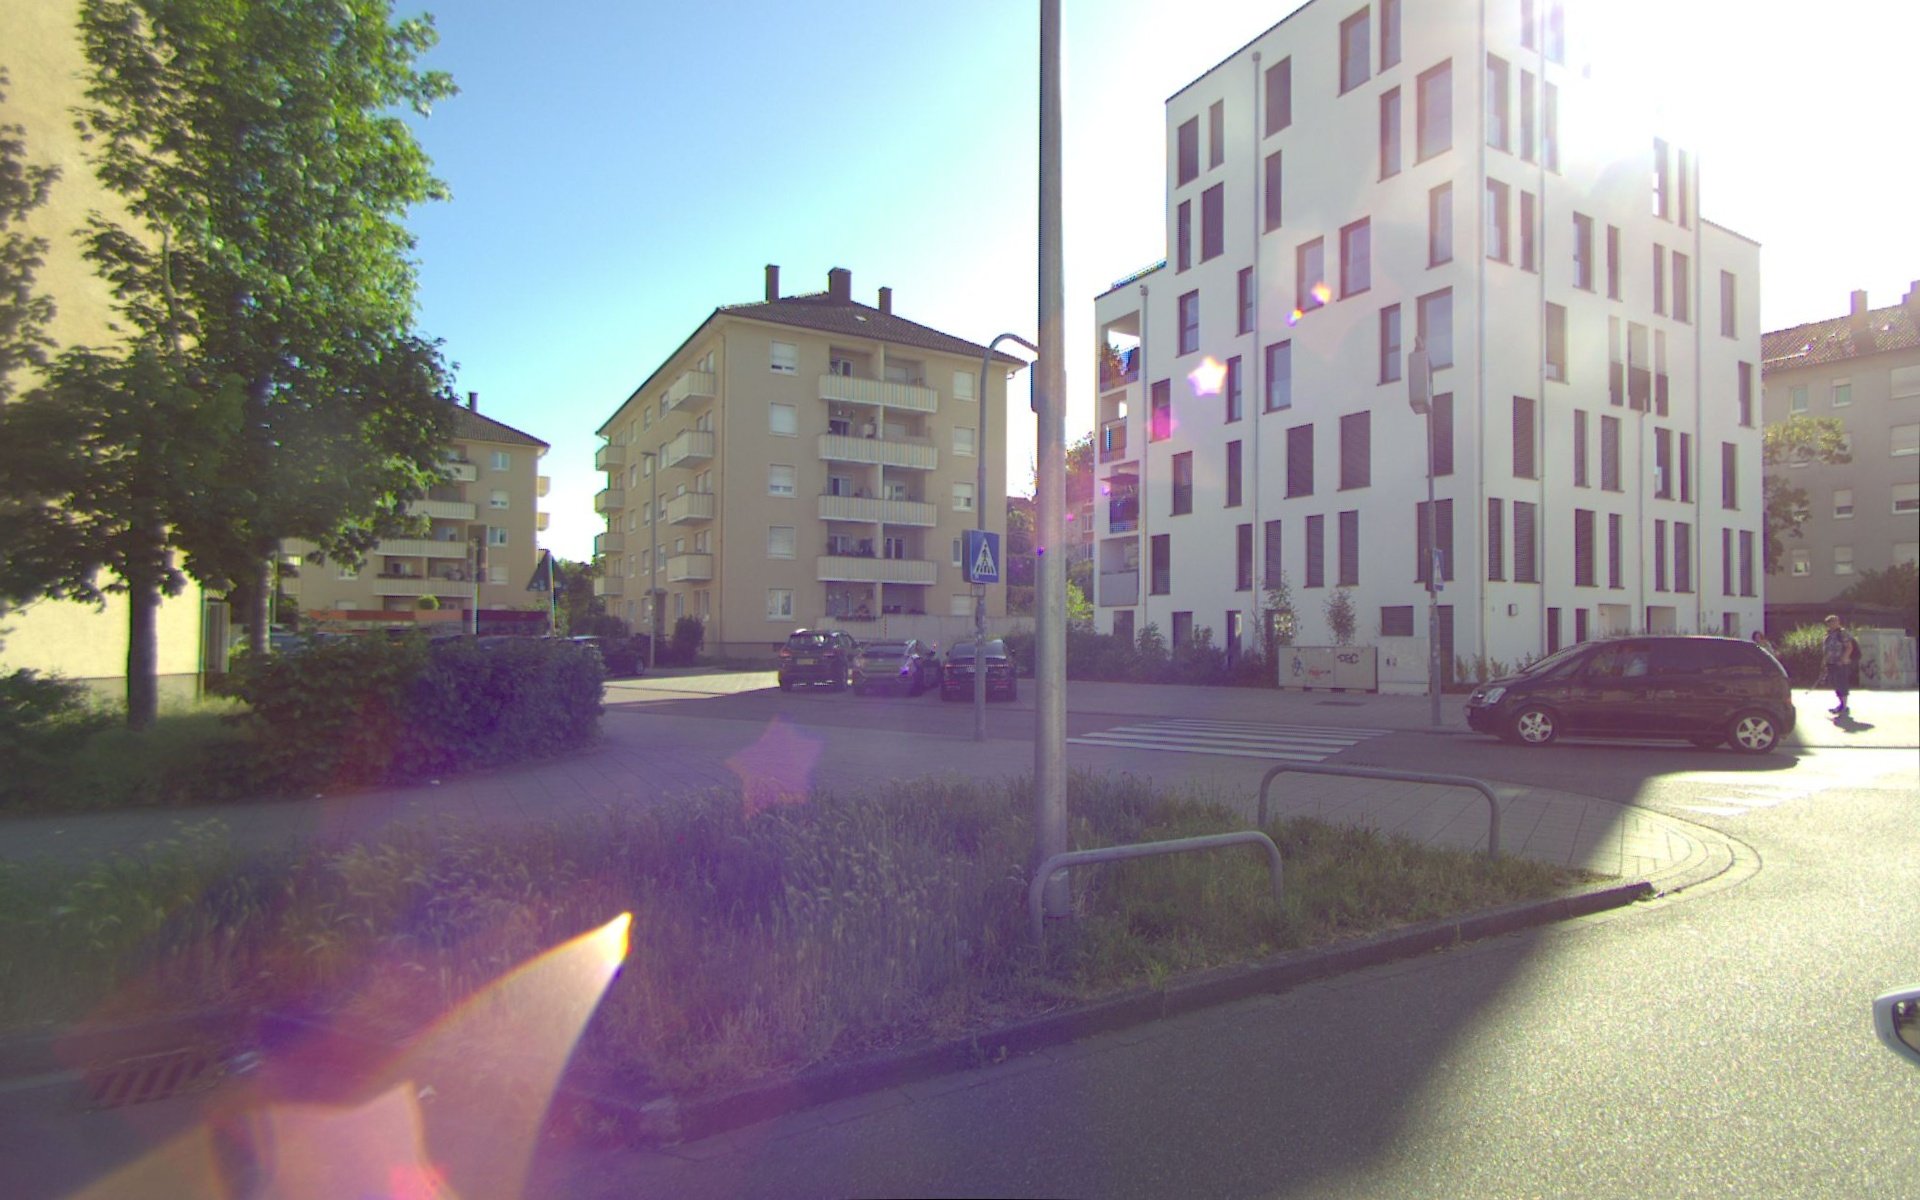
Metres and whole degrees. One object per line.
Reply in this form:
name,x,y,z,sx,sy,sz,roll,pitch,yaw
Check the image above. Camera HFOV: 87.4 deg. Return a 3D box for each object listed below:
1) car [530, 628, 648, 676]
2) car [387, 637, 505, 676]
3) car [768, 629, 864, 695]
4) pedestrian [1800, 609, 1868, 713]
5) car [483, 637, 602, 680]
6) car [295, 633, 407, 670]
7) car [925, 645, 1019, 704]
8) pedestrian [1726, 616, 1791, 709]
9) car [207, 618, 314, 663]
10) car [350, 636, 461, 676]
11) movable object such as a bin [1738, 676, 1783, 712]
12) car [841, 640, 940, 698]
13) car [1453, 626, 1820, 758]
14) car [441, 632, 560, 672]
car,-12.481,1.711,34.061,1.959,1.420,4.003,2,0,10
car,-20.062,2.179,39.388,1.959,1.327,4.002,1,-1,14
car,-4.005,1.699,28.570,1.960,1.673,4.001,0,-1,3
pedestrian,16.775,1.150,19.284,0.785,1.910,0.836,2,0,-40
car,-14.912,2.055,36.129,1.959,1.327,4.002,1,-1,14
car,-26.957,2.262,44.598,1.959,1.416,4.002,2,0,14
car,0.401,1.794,25.069,1.960,1.182,4.567,0,-1,6
pedestrian,18.853,1.452,23.743,0.939,2.149,0.776,-1,-1,13
car,-34.608,1.967,49.810,1.959,2.040,4.002,2,0,13
car,-22.559,2.244,41.039,1.959,1.272,4.002,2,1,8
movable object such as a bin,15.699,1.836,19.696,0.836,0.688,0.271,1,-2,-19
car,-1.773,1.819,27.337,1.960,1.450,4.568,0,-2,6
car,9.513,1.235,14.519,4.032,1.550,1.743,2,0,18
car,-17.136,1.905,37.691,1.959,1.327,4.002,1,-1,14
